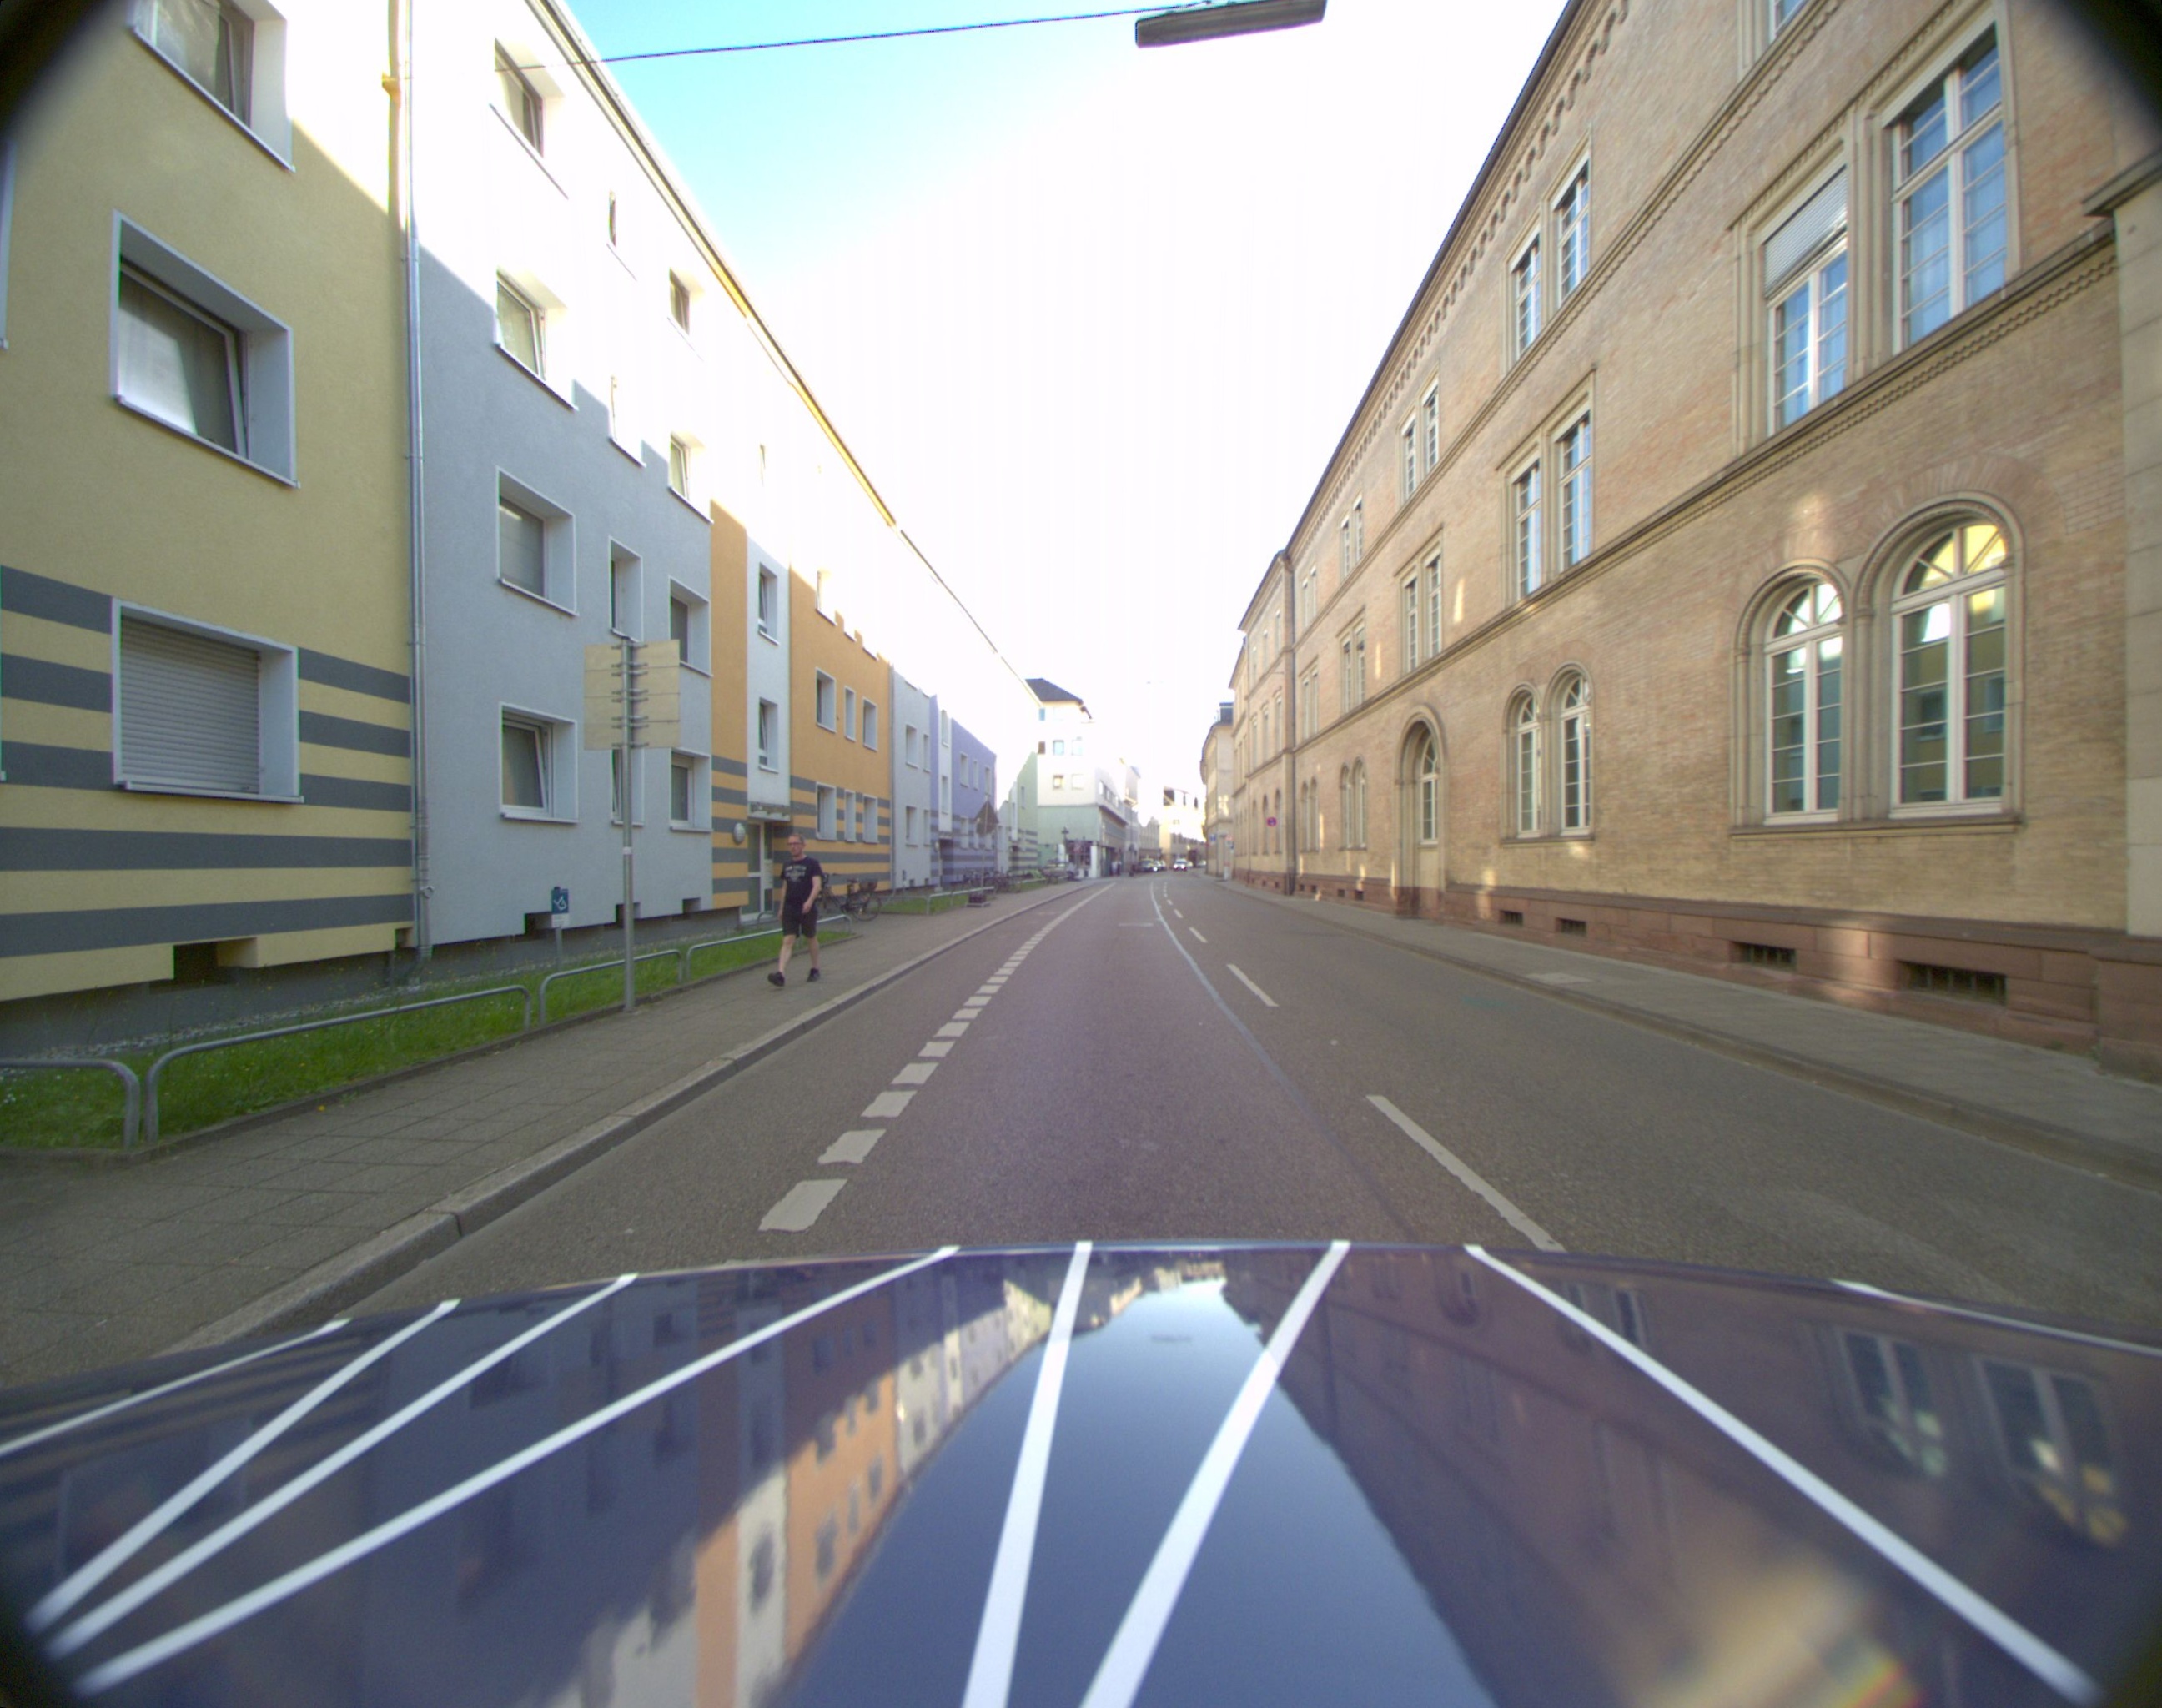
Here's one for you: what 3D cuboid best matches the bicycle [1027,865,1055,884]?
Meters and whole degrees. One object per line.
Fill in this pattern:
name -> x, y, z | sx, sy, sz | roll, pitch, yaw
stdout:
bicycle -> -2.423, 1.230, 46.103 | 1.711, 1.097, 0.584 | 1, 0, -2

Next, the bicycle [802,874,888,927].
bicycle -> -5.292, 1.037, 17.088 | 1.711, 1.152, 0.636 | 1, 0, -2

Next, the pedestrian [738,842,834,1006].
pedestrian -> -3.400, 0.768, 8.832 | 0.646, 1.778, 0.916 | 3, 1, 4

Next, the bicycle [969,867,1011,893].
bicycle -> -3.952, 1.109, 32.983 | 1.710, 1.075, 0.636 | 1, 0, 1

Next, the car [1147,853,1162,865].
car -> 11.044, 0.726, 113.994 | 1.861, 1.714, 3.742 | 0, 0, 11

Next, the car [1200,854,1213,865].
car -> 19.860, 0.850, 120.346 | 1.662, 1.714, 3.743 | 0, 0, 14

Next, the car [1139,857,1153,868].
car -> 8.636, 1.151, 100.755 | 1.634, 1.405, 3.687 | 0, 0, 8

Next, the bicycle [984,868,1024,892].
bicycle -> -3.392, 1.160, 33.745 | 1.711, 1.029, 0.636 | 1, 0, -2

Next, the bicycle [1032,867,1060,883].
bicycle -> -2.175, 1.296, 47.563 | 1.711, 0.972, 0.516 | 1, 0, -2

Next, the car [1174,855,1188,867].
car -> 15.130, 1.002, 114.635 | 1.921, 1.712, 4.964 | 0, 0, 10

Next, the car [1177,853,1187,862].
car -> 19.909, 0.676, 149.579 | 1.534, 1.714, 3.743 | 0, 0, 16

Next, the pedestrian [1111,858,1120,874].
pedestrian -> 3.204, 1.094, 69.990 | 0.707, 1.510, 0.662 | -1, 0, 12

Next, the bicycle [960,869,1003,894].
bicycle -> -4.153, 1.147, 31.841 | 1.710, 1.039, 0.636 | 1, 0, 2

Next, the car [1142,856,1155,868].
car -> 9.463, 1.100, 106.030 | 1.535, 1.714, 3.741 | 0, 0, 8

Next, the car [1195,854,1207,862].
car -> 25.853, 0.869, 163.592 | 1.925, 1.714, 4.236 | 0, 0, 19
